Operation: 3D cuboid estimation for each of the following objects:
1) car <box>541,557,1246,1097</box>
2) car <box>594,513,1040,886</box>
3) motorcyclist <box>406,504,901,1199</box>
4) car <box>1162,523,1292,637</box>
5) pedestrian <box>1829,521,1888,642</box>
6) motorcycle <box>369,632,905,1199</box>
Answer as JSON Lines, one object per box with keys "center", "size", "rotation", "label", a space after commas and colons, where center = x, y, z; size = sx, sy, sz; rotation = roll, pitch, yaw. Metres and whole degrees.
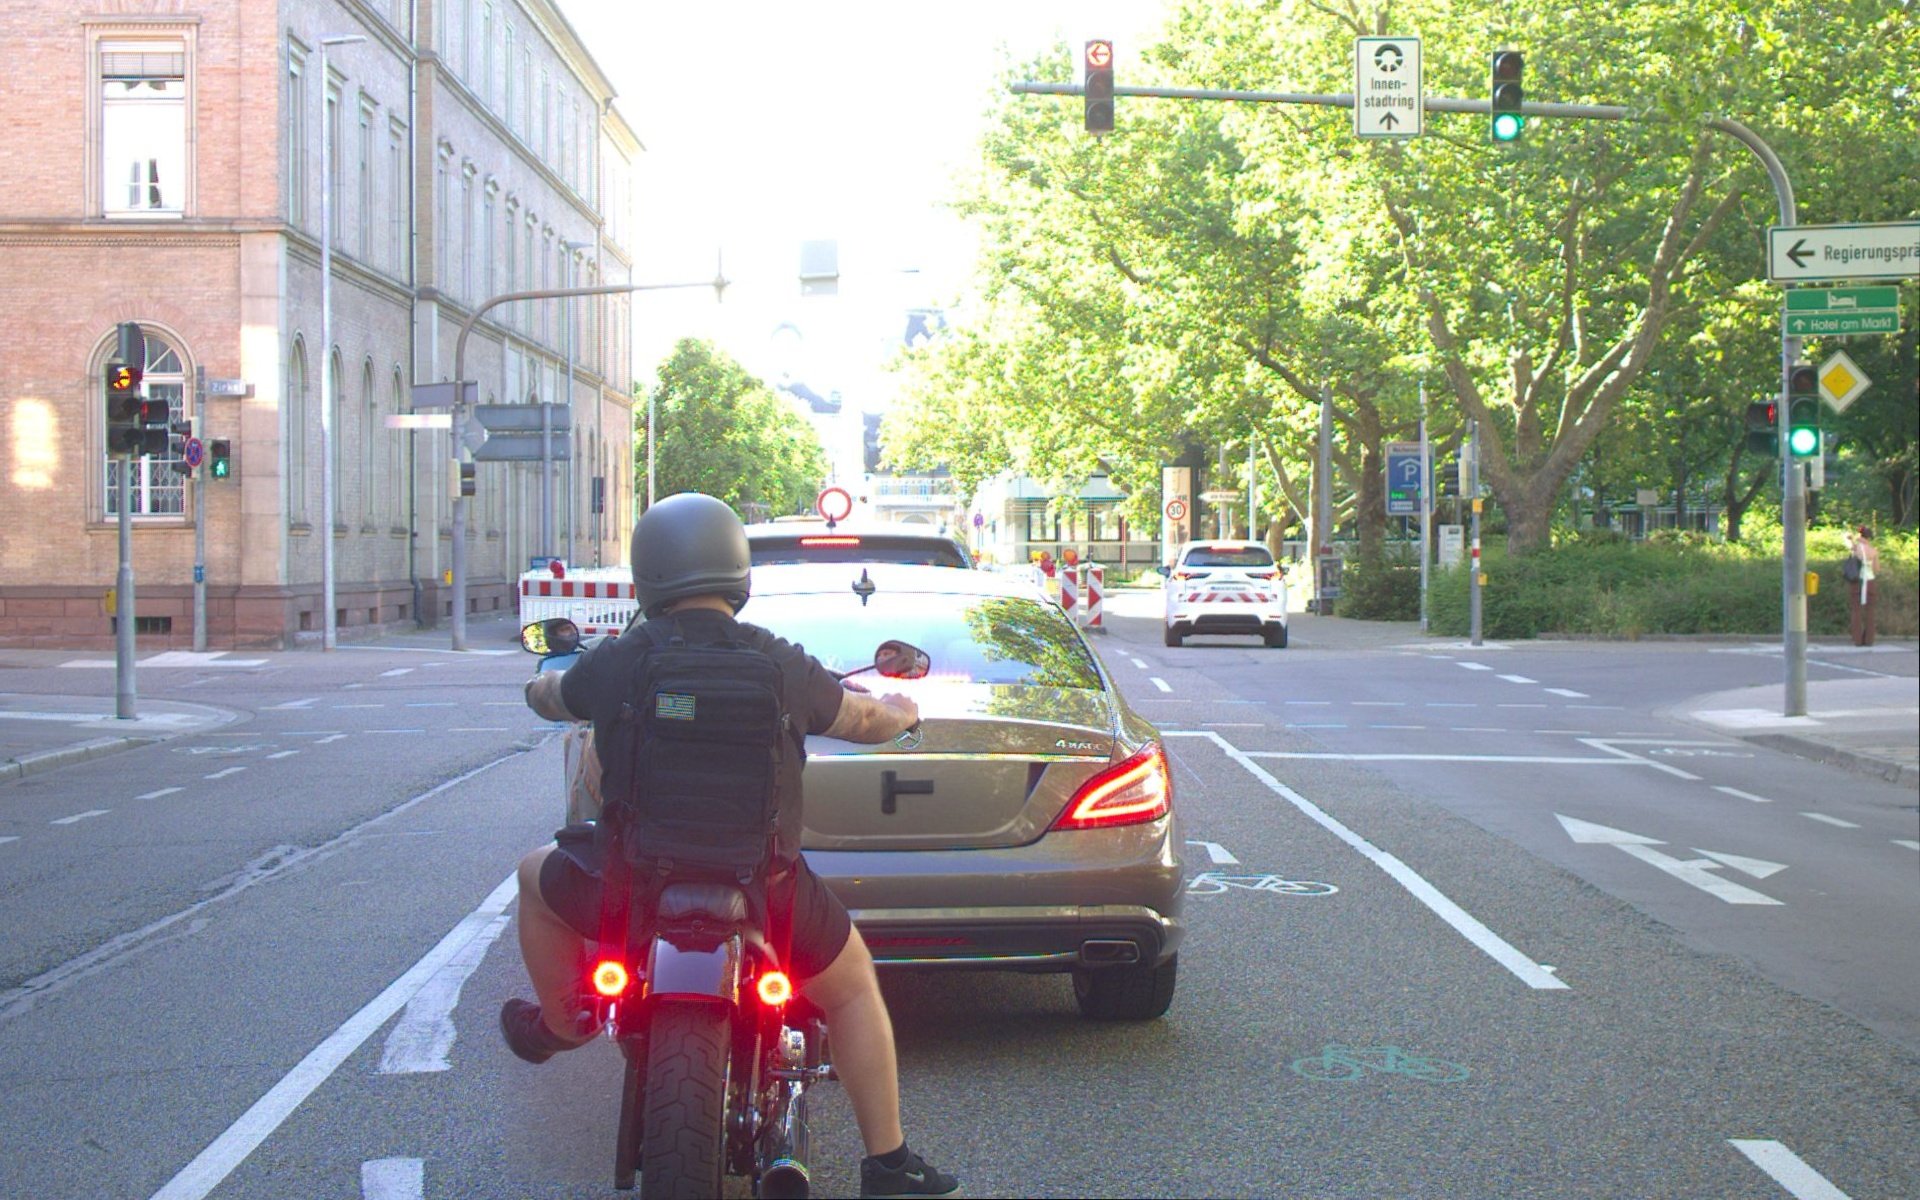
{"center": [-0.437, 0.587, 11.637], "size": [1.869, 1.439, 4.431], "rotation": [0, 1, -8], "label": "car"}
{"center": [-0.671, 0.429, 17.559], "size": [1.993, 1.660, 4.000], "rotation": [1, 1, -1], "label": "car"}
{"center": [-0.622, 0.582, 7.504], "size": [0.980, 1.573, 1.248], "rotation": [0, 1, -1], "label": "motorcyclist"}
{"center": [4.301, -0.345, 54.890], "size": [1.943, 1.702, 4.482], "rotation": [1, 1, 6], "label": "car"}
{"center": [13.236, -0.271, 50.634], "size": [0.678, 1.766, 0.616], "rotation": [1, 0, 29], "label": "pedestrian"}
{"center": [-0.617, 0.739, 7.579], "size": [0.980, 1.271, 2.407], "rotation": [0, 1, -1], "label": "motorcycle"}
